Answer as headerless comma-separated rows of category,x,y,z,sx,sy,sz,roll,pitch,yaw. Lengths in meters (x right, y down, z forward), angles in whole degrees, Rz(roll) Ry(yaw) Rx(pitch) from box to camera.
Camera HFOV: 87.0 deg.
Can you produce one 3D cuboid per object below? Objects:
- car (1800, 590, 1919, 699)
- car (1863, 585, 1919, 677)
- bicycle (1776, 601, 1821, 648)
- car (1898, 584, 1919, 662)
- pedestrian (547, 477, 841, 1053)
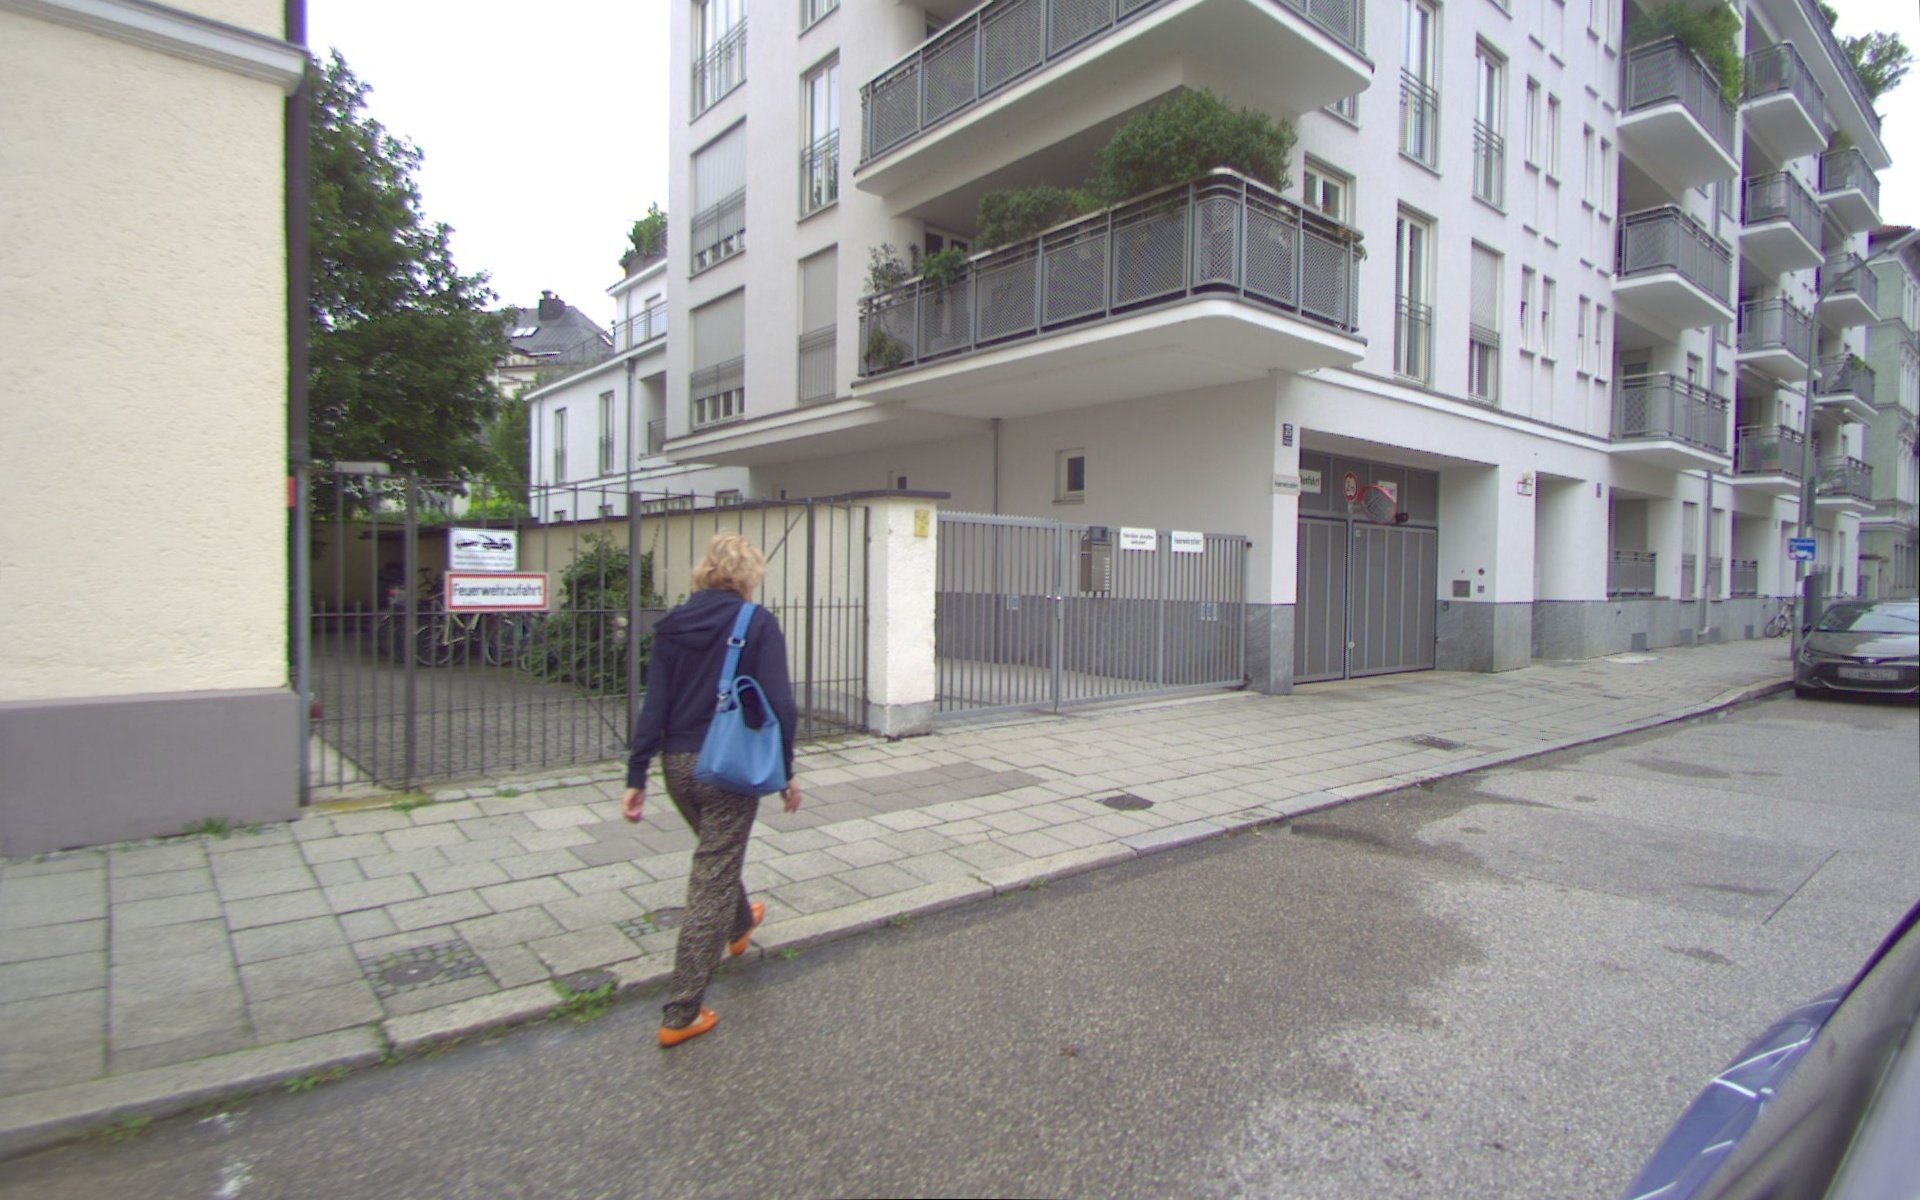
car,13.880,0.571,14.982,4.010,1.425,1.765,-1,1,-43
car,17.610,0.526,18.300,3.465,1.549,1.522,0,1,-41
bicycle,21.914,0.625,26.432,2.091,1.175,0.628,0,1,-43
car,21.231,0.446,21.317,4.542,1.550,1.736,0,-2,-42
pedestrian,-0.866,0.497,3.461,0.783,1.749,0.671,0,0,7
